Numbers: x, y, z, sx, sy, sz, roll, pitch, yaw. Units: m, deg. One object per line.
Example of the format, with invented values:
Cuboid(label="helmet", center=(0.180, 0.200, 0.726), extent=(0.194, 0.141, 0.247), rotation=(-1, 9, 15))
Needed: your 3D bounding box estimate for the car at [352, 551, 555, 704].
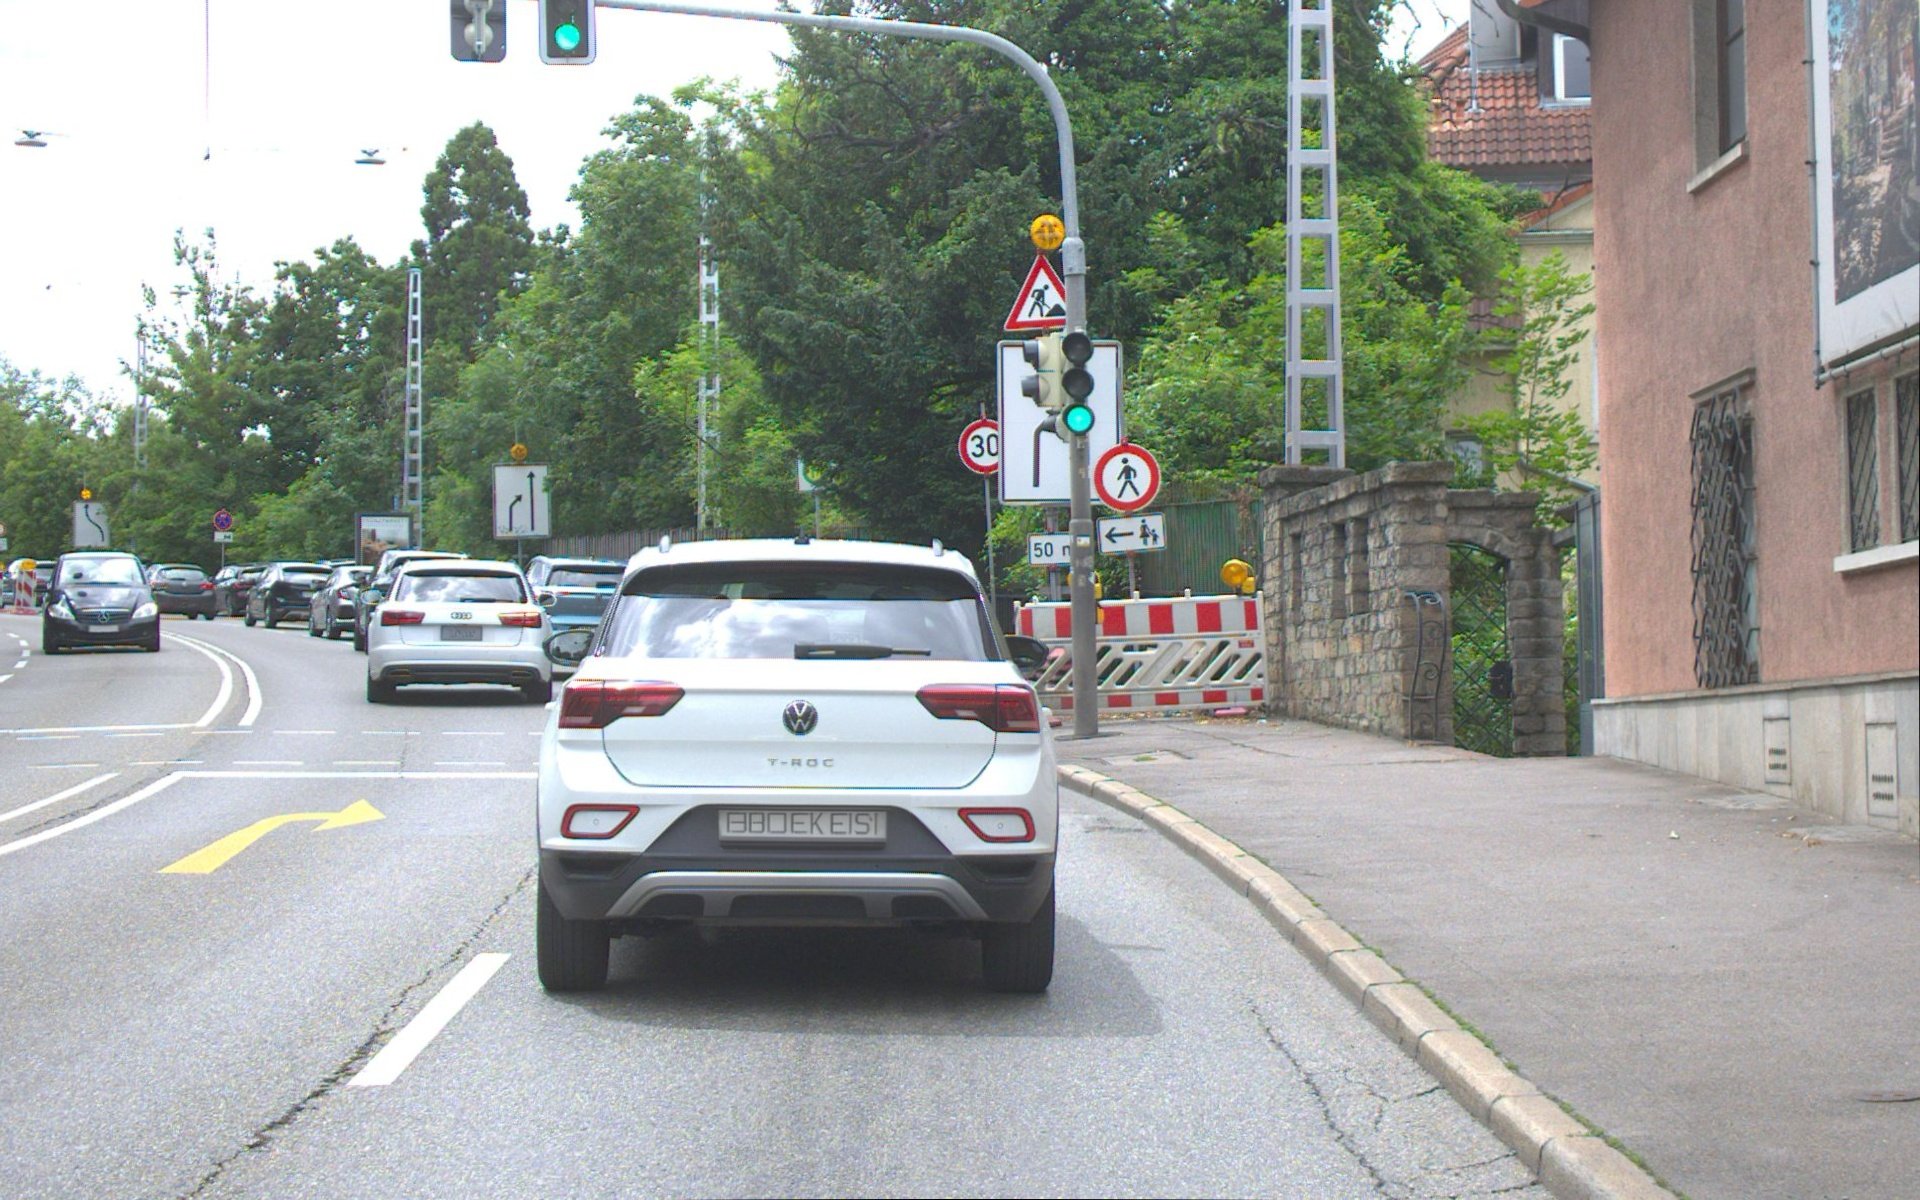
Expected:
Cuboid(label="car", center=(-5.285, 0.252, 35.541), extent=(1.757, 1.466, 3.796), rotation=(1, 0, -13))

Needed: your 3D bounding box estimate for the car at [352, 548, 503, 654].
Cuboid(label="car", center=(-8.535, -0.015, 54.851), extent=(1.993, 1.551, 4.152), rotation=(1, 1, -14))

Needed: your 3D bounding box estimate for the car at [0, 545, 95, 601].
Cuboid(label="car", center=(-28.901, -0.874, 108.459), extent=(1.841, 1.693, 4.000), rotation=(-1, 2, -35))

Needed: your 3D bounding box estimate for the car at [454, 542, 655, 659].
Cuboid(label="car", center=(-5.260, -0.005, 44.152), extent=(1.993, 1.409, 4.152), rotation=(-1, 0, -15))

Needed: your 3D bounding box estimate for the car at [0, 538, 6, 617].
Cuboid(label="car", center=(-21.360, -0.445, 71.730), extent=(1.993, 1.602, 4.477), rotation=(-2, 2, -25))

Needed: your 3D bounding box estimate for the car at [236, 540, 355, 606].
Cuboid(label="car", center=(-14.904, -0.605, 76.995), extent=(1.993, 1.445, 4.152), rotation=(0, 0, -20))

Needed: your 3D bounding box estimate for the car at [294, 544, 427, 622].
Cuboid(label="car", center=(-11.547, -0.336, 66.017), extent=(1.993, 1.445, 4.152), rotation=(0, 0, -17))

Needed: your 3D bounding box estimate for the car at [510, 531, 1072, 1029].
Cuboid(label="car", center=(-0.579, 0.563, 12.890), extent=(1.757, 1.550, 3.796), rotation=(1, 0, -1))

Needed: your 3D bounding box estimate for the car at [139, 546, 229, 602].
Cuboid(label="car", center=(-20.495, -0.697, 90.718), extent=(1.780, 1.449, 4.001), rotation=(0, 1, -20))

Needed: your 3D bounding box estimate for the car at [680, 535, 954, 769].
Cuboid(label="car", center=(-1.150, 0.351, 25.972), extent=(1.757, 1.604, 3.796), rotation=(1, 0, -7))

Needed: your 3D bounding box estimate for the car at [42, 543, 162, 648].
Cuboid(label="car", center=(-13.643, -0.097, 54.817), extent=(1.754, 1.561, 3.680), rotation=(-2, 1, -13))
